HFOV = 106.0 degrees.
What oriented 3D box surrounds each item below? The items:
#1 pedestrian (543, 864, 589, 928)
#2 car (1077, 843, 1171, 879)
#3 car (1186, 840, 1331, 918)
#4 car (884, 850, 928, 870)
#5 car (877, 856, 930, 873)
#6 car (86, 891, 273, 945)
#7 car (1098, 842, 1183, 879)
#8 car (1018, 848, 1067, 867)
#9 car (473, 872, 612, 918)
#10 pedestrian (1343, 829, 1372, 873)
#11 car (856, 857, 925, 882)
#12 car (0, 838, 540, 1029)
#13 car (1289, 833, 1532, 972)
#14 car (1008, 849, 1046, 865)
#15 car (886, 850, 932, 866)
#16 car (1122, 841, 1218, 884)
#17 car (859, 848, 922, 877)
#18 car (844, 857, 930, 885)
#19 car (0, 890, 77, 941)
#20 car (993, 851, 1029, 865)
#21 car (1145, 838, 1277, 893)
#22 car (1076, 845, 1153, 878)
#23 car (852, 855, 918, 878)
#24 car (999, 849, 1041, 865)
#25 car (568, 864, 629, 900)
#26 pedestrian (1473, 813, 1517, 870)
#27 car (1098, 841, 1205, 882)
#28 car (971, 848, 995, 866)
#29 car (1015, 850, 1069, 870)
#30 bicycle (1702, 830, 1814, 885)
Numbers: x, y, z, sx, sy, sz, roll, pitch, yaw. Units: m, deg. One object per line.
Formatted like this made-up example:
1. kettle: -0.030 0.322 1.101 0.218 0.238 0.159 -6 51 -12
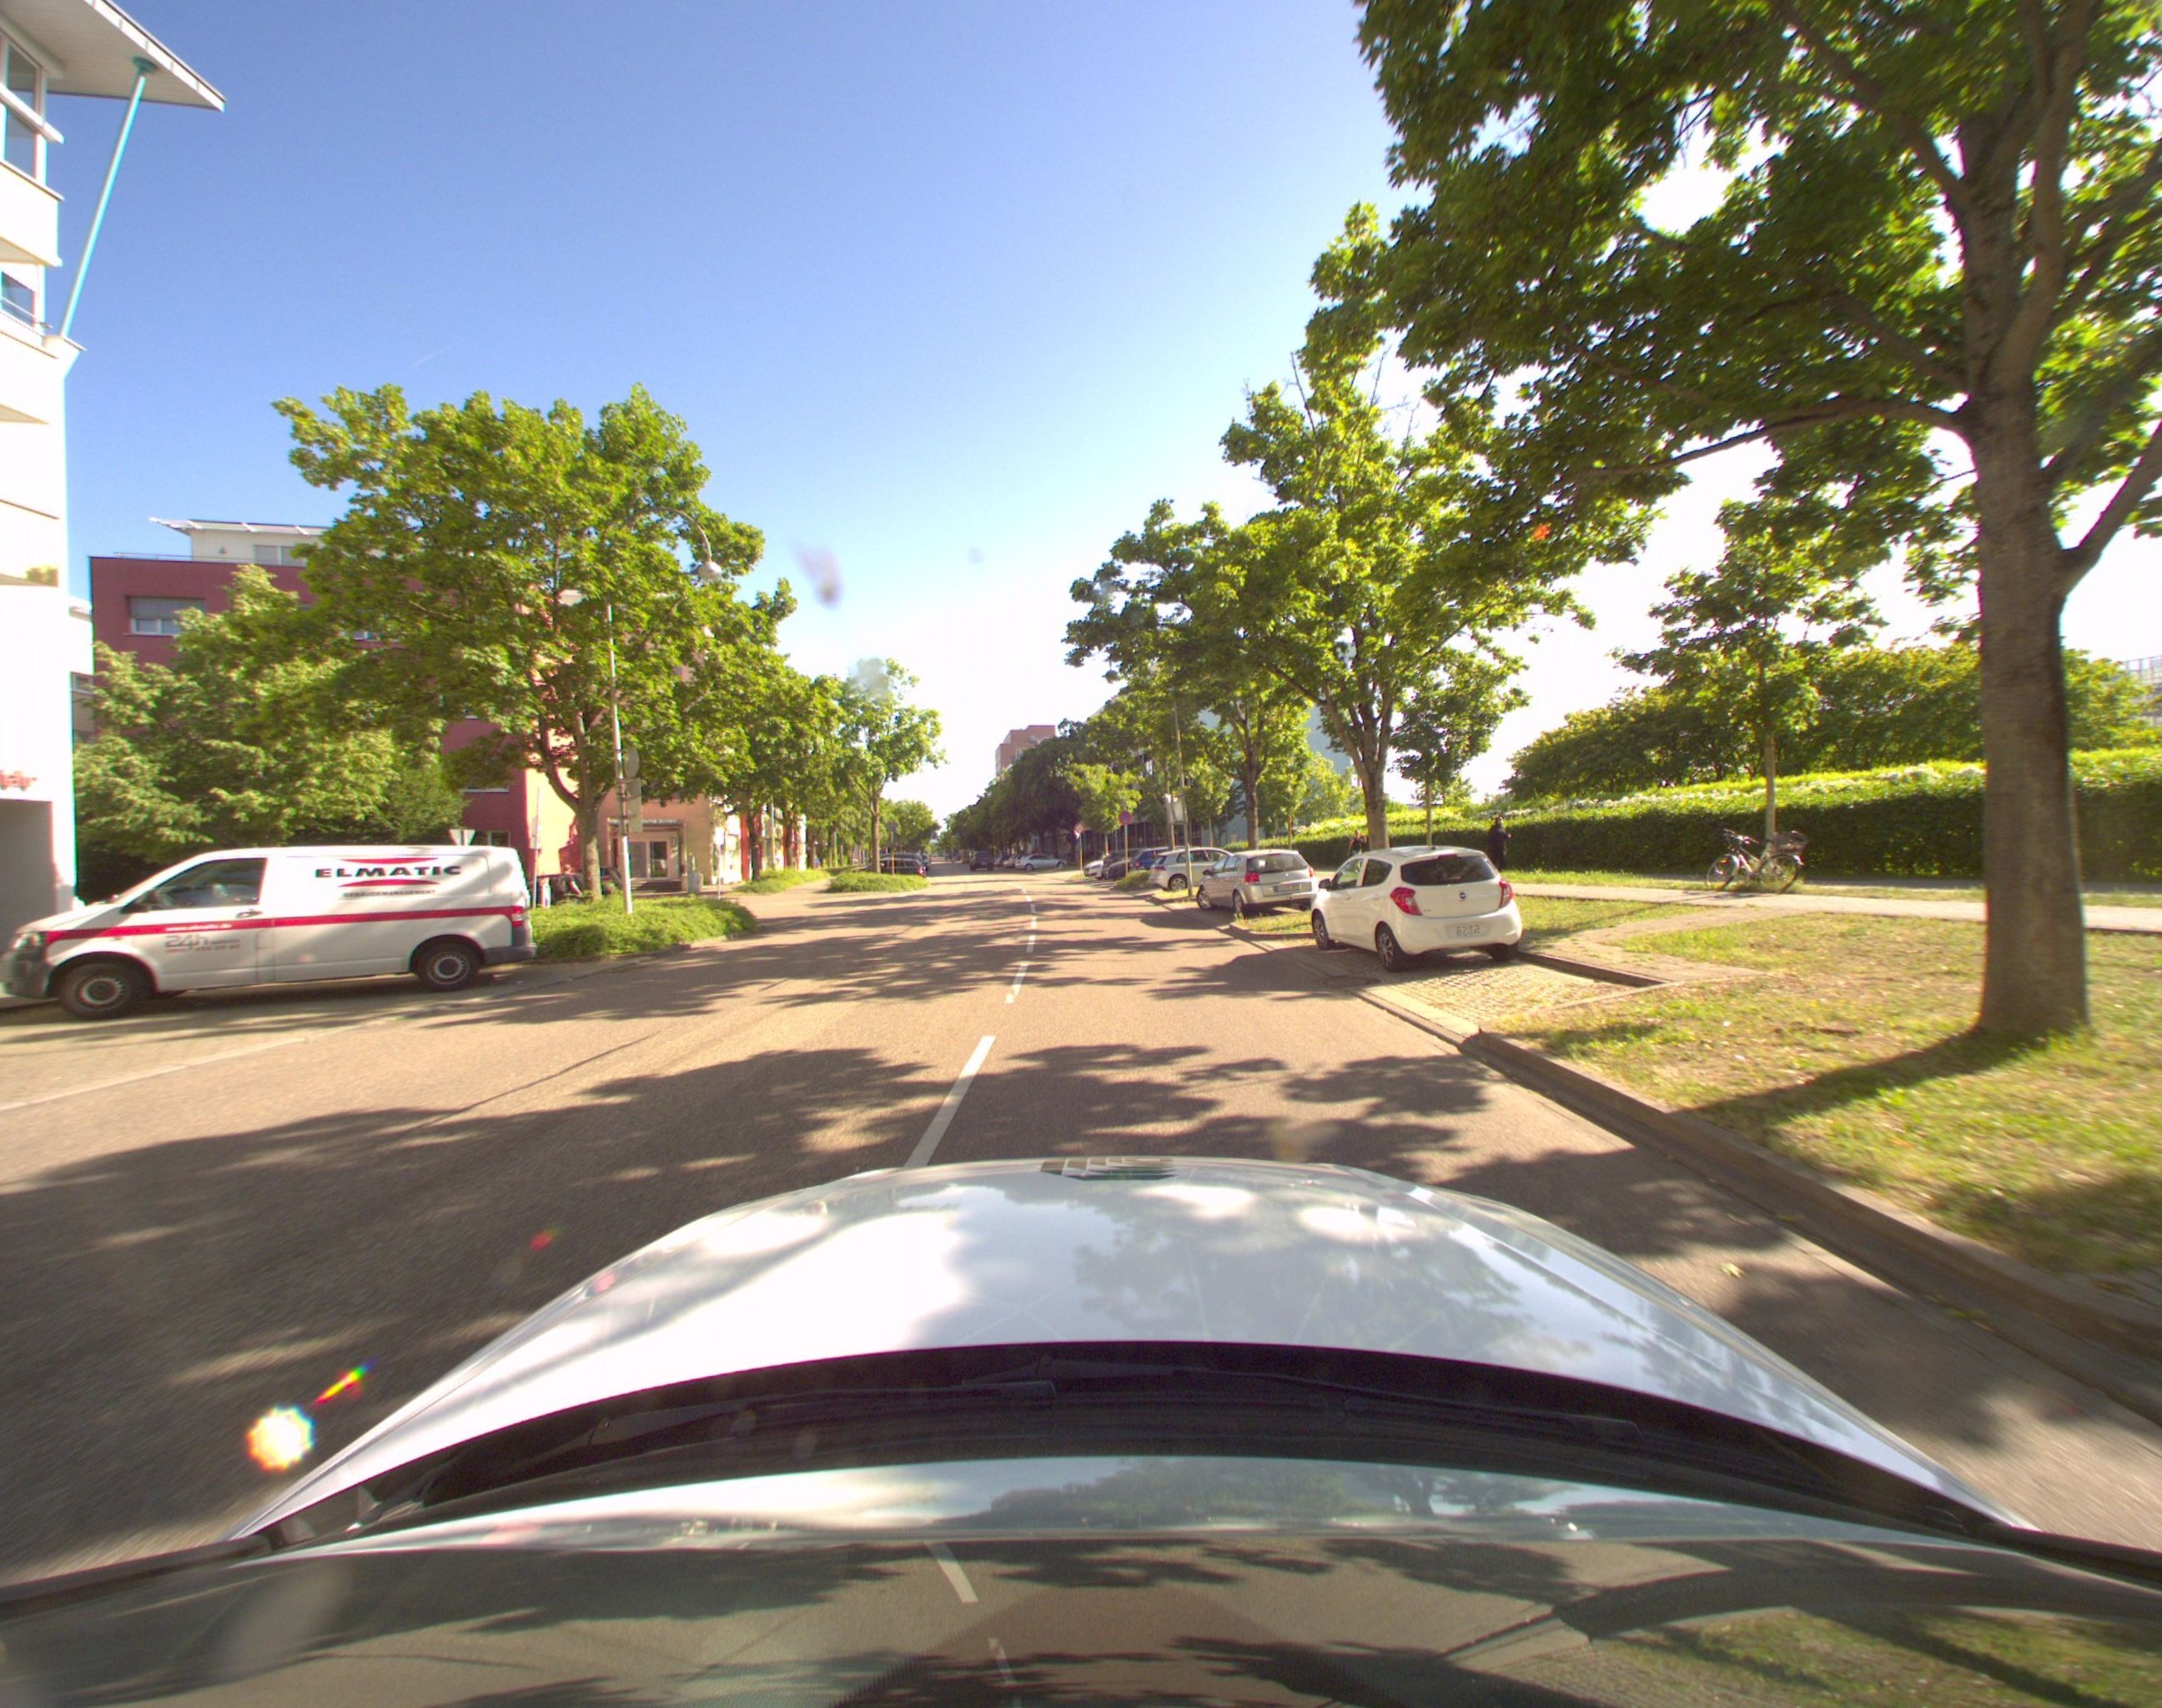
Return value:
1. pedestrian: -14.581 1.160 23.079 0.656 1.725 1.019 -3 0 -7
2. car: 2.288 0.376 43.423 4.561 1.515 1.971 -4 0 -17
3. car: 4.041 0.520 19.400 1.808 1.493 4.611 -5 0 -8
4. car: -18.782 0.654 87.434 4.487 2.090 2.076 0 0 -9
5. car: -15.267 0.931 70.271 4.407 1.427 1.765 0 0 -13
6. car: -31.813 2.219 28.885 3.997 1.504 1.930 -2 3 -12
7. car: 2.957 0.338 40.951 3.877 1.515 1.744 -4 0 -11
8. car: -3.731 0.361 78.409 4.511 1.542 1.917 -3 0 -8
9. car: -20.593 1.537 31.307 3.984 1.447 1.797 -2 3 -12
10. pedestrian: 10.171 -0.113 29.956 0.606 1.542 0.934 -2 0 -9
11. car: -11.260 0.924 48.354 3.893 1.423 1.733 0 0 -11
12. car: -10.089 0.809 10.796 4.791 1.985 1.978 -1 1 -36
13. car: 4.348 0.562 11.420 1.639 1.493 3.761 -5 0 -3
14. car: -5.804 0.349 87.276 3.753 1.493 1.607 -4 0 -18
15. car: -20.519 0.465 97.222 5.260 1.967 1.935 0 0 -11
16. car: 3.882 0.355 35.813 3.805 1.448 1.739 -6 0 -9
17. car: -12.376 0.553 53.201 3.893 1.811 1.779 0 0 -11
18. car: -10.356 0.901 43.721 4.259 1.423 1.735 0 0 -8
19. car: -37.650 2.163 27.687 3.997 1.504 1.930 -2 3 -12
20. car: -8.396 0.430 97.557 3.974 1.420 1.703 -4 0 -13
21. car: 4.385 0.385 27.796 4.082 1.429 1.640 -6 0 -4
22. car: 1.885 0.414 45.977 3.958 1.515 1.692 -4 0 -17
23. car: -12.193 0.777 50.943 3.893 1.423 1.733 0 0 -11
24. car: -6.769 0.334 90.150 4.297 1.493 1.992 -4 0 -18
25. car: -22.109 1.243 37.486 1.741 1.443 4.102 -3 1 -22
26. pedestrian: 11.811 -0.346 23.259 0.723 1.588 0.850 -2 0 -9
27. car: 3.298 0.340 38.427 4.551 1.515 2.151 -4 0 -11
28. car: -9.407 0.271 78.221 1.994 1.640 3.985 0 0 -11
29. car: -3.539 0.493 72.937 4.579 1.475 1.740 -4 0 -11
30. bicycle: 11.217 0.066 13.543 0.348 0.866 1.398 -3 0 -22
